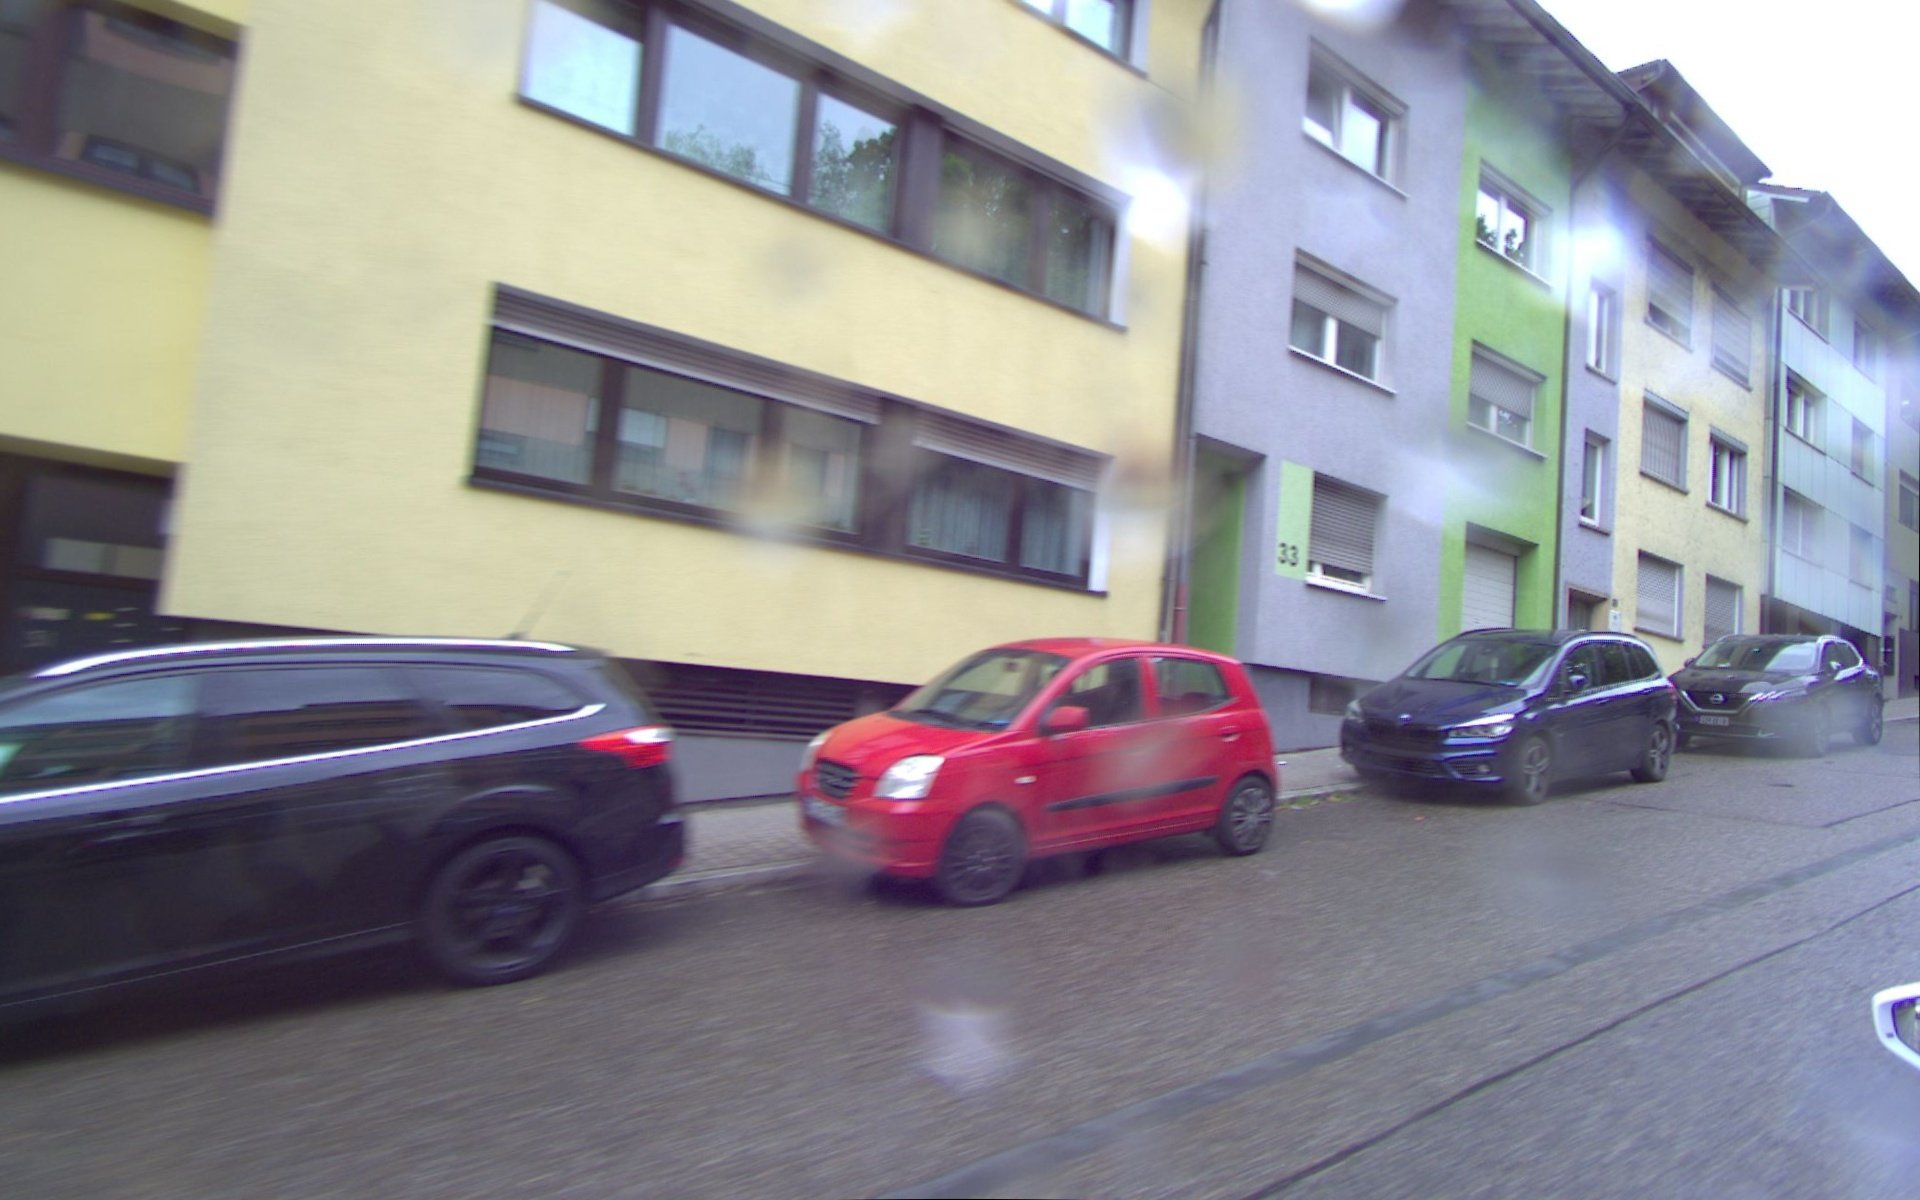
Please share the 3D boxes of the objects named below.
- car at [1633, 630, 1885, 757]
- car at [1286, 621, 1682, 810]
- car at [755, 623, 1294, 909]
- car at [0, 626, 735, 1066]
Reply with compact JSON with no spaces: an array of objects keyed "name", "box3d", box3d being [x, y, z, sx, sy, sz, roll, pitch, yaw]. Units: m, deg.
[{"name":"car","box3d":[11.884,1.271,14.866,4.263,1.606,1.841,2,-2,-36]},{"name":"car","box3d":[5.680,1.063,10.704,4.428,1.606,1.980,2,-2,-36]},{"name":"car","box3d":[0.534,0.929,6.989,3.457,1.492,1.717,2,-2,-36]},{"name":"car","box3d":[-3.441,0.877,4.550,4.306,1.492,1.980,2,-2,-36]}]
